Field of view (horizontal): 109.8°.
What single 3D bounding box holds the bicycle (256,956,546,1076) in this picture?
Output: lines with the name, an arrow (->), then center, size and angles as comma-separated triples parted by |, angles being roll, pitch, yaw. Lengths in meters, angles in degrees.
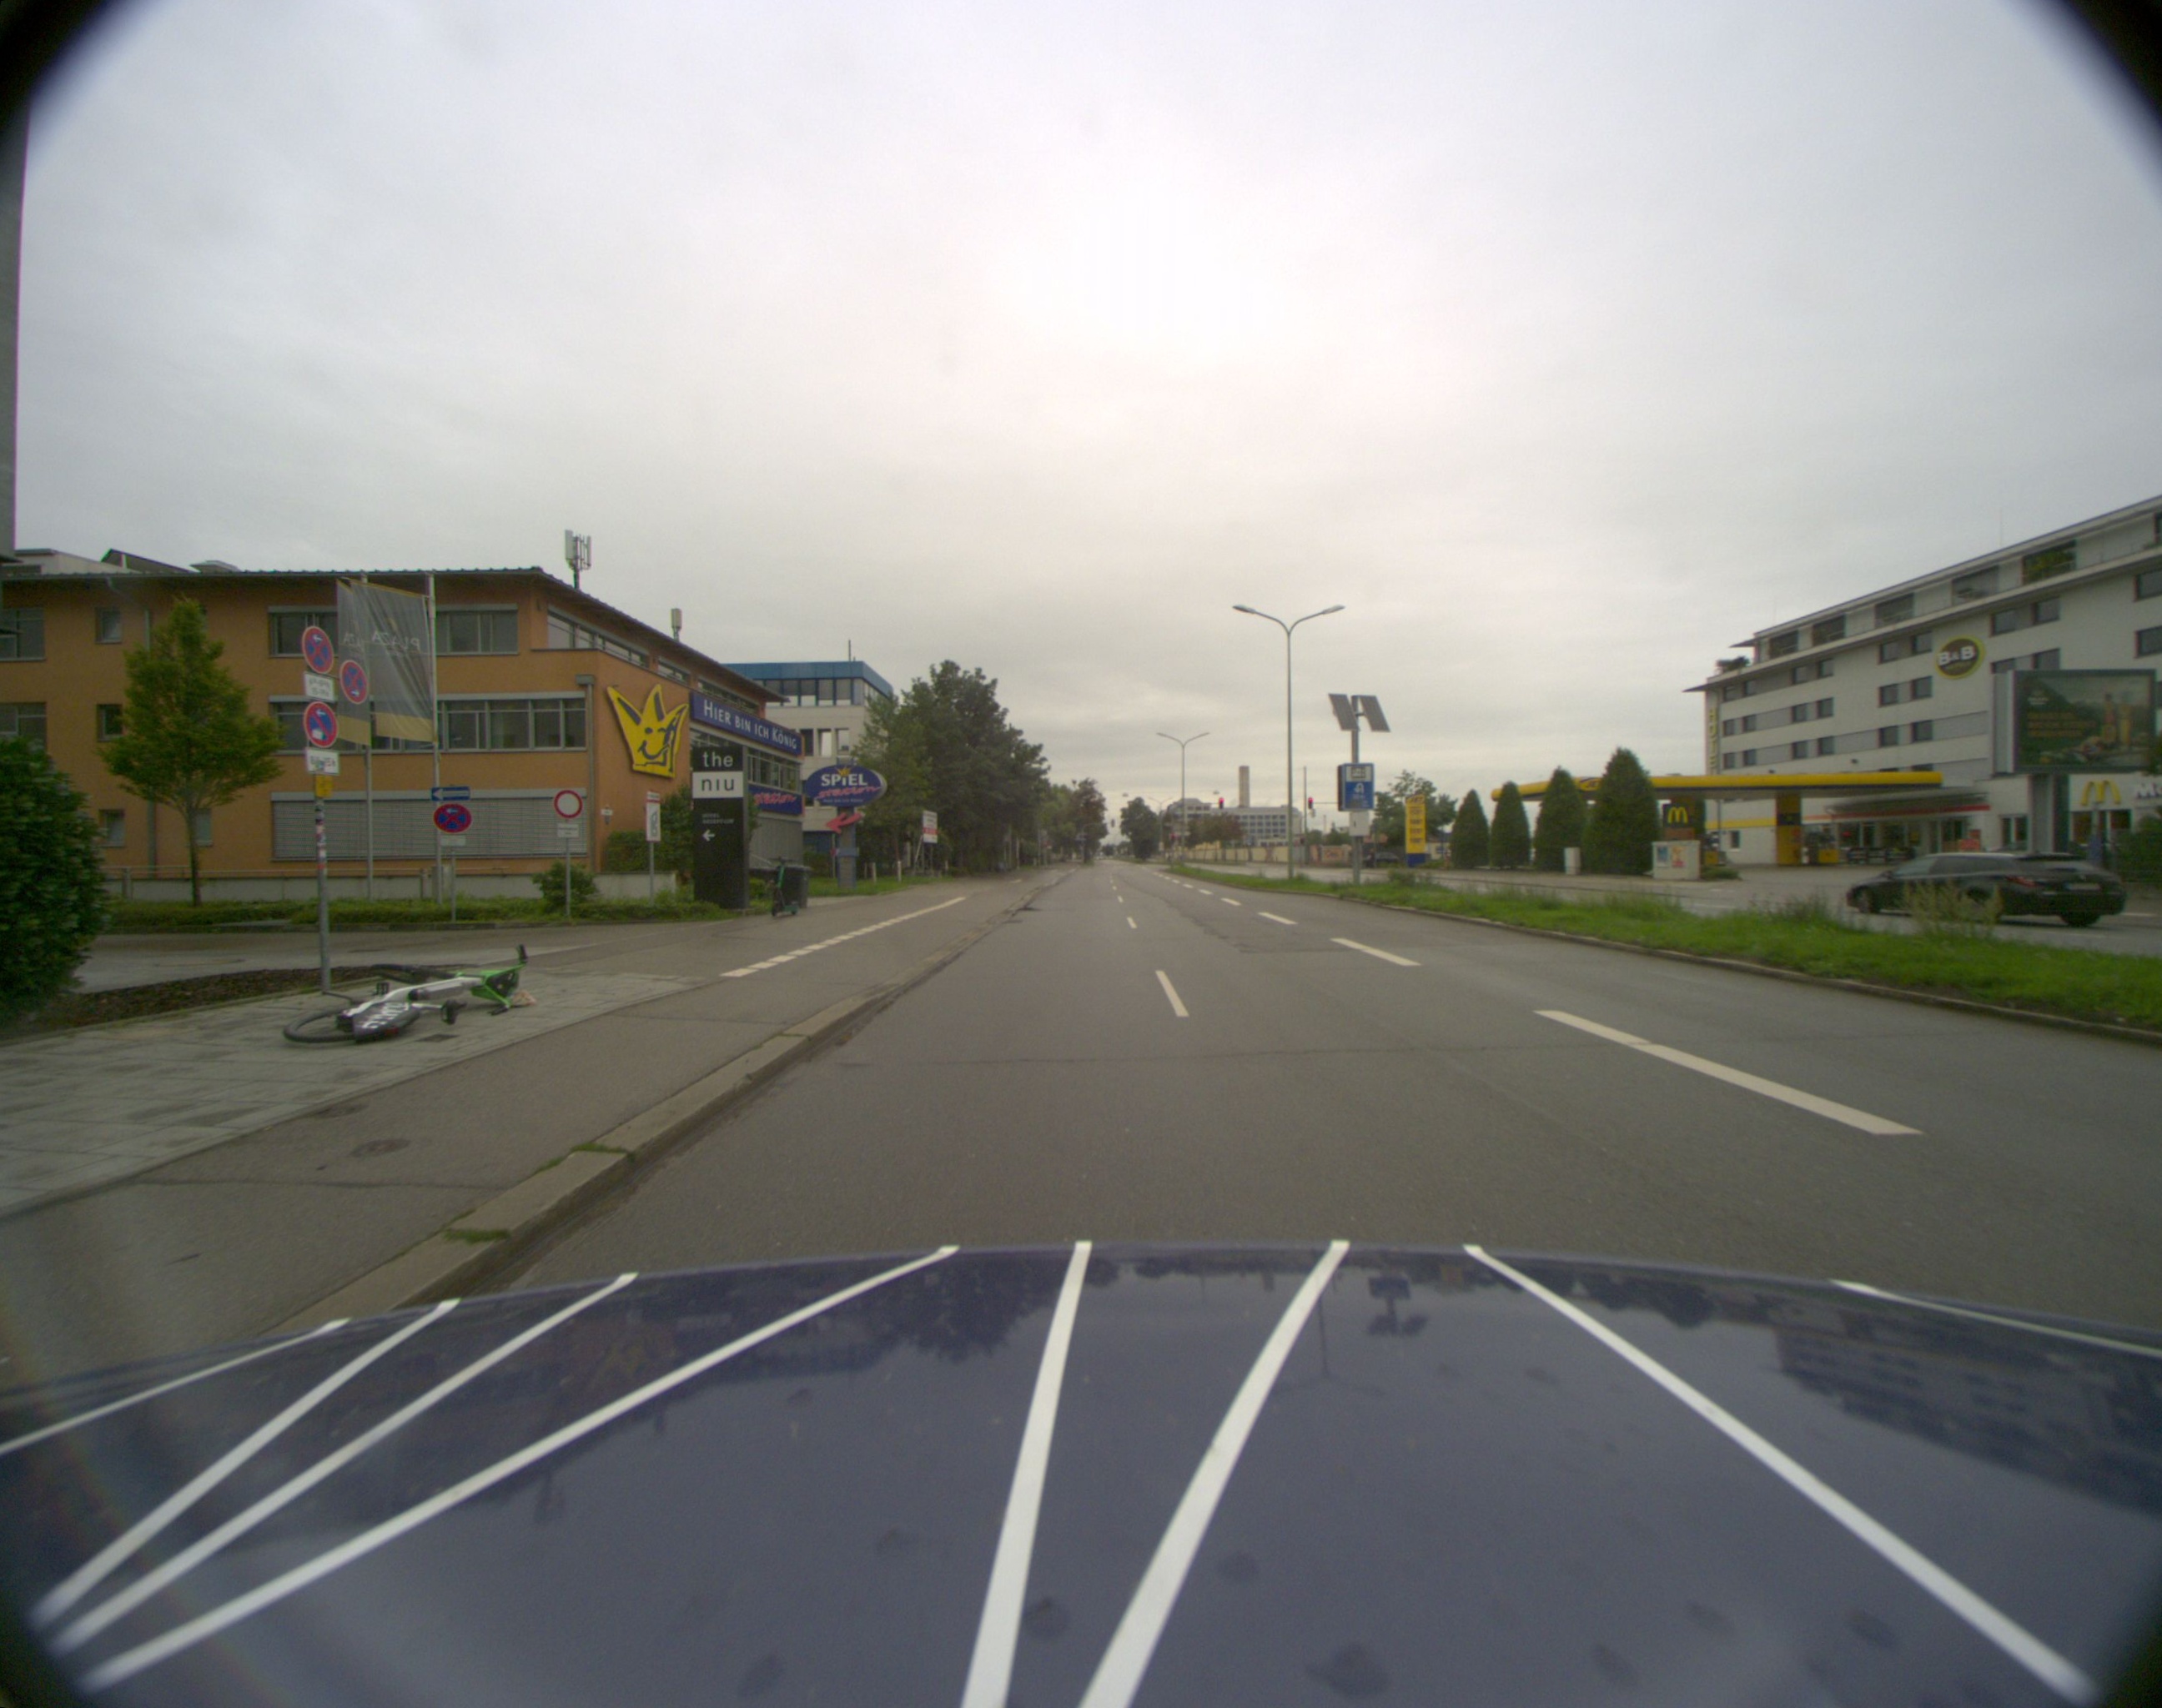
bicycle -> -5.244, 1.224, 6.044 | 0.721, 0.545, 1.732 | 3, 0, 1

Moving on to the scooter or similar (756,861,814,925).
scooter or similar -> -6.355, 0.805, 16.397 | 0.587, 1.270, 1.404 | 4, 1, 1

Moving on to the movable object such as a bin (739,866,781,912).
movable object such as a bin -> -7.868, 0.846, 18.616 | 0.739, 1.072, 0.655 | 0, 1, 2

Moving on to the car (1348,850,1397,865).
car -> 30.034, 0.374, 78.428 | 4.260, 1.419, 2.000 | -1, 0, 4

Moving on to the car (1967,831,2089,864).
car -> 47.354, -0.305, 38.045 | 3.997, 1.578, 1.706 | -1, 0, -1

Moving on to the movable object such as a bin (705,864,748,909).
movable object such as a bin -> -8.712, 0.800, 18.696 | 0.739, 1.072, 0.655 | 0, 1, 2

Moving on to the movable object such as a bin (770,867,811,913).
movable object such as a bin -> -7.076, 0.865, 18.557 | 0.739, 1.072, 0.655 | 0, 1, 2

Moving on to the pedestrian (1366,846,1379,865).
pedestrian -> 24.350, 0.126, 63.496 | 0.804, 1.605, 0.687 | -3, 1, 0

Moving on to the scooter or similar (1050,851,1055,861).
scooter or similar -> -4.030, 0.253, 107.666 | 0.371, 1.416, 1.403 | 0, 1, -14

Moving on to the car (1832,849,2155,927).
car -> 18.916, 0.604, 16.195 | 1.996, 1.393, 4.659 | 1, 0, 13

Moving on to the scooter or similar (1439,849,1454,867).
scooter or similar -> 24.996, 0.278, 51.947 | 0.356, 1.235, 1.546 | -3, 0, 6
